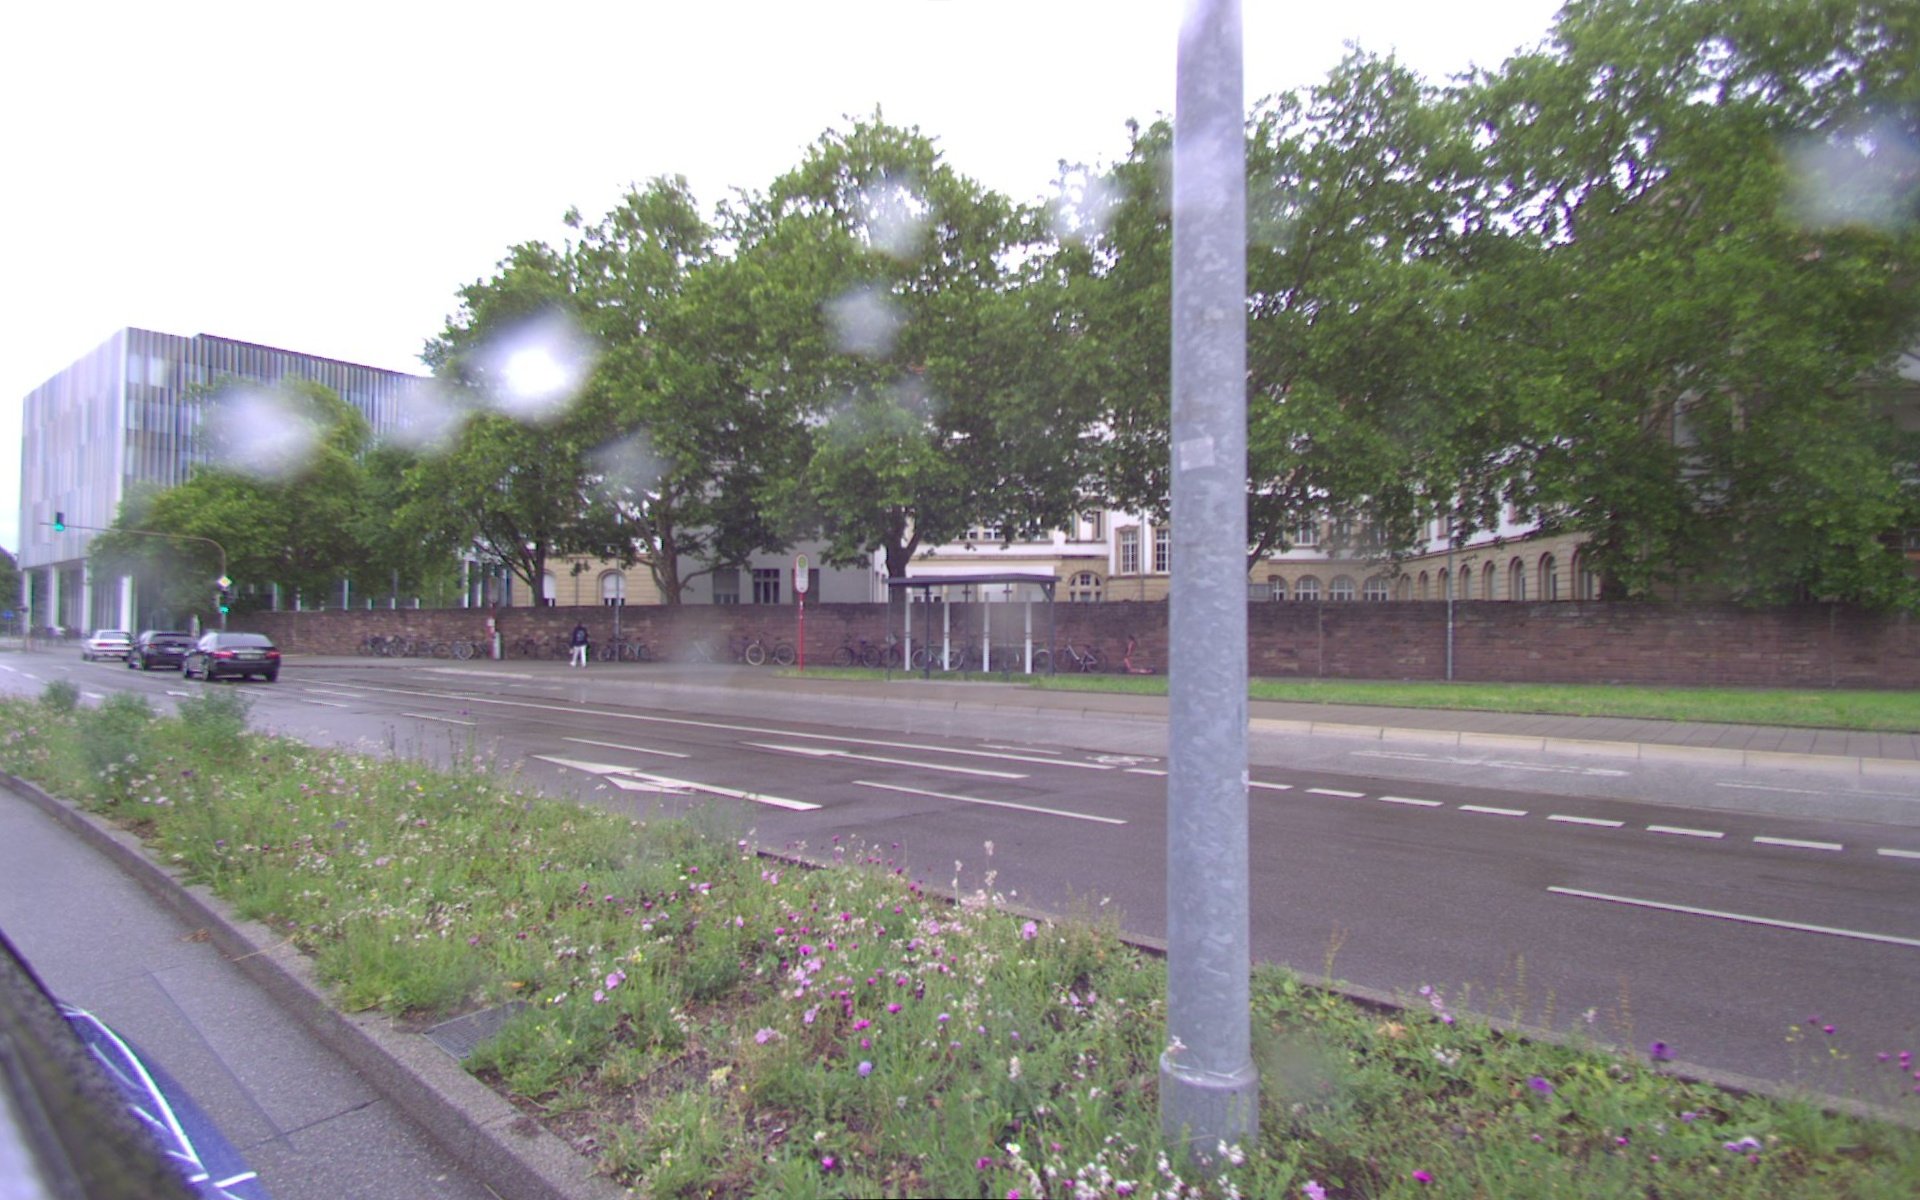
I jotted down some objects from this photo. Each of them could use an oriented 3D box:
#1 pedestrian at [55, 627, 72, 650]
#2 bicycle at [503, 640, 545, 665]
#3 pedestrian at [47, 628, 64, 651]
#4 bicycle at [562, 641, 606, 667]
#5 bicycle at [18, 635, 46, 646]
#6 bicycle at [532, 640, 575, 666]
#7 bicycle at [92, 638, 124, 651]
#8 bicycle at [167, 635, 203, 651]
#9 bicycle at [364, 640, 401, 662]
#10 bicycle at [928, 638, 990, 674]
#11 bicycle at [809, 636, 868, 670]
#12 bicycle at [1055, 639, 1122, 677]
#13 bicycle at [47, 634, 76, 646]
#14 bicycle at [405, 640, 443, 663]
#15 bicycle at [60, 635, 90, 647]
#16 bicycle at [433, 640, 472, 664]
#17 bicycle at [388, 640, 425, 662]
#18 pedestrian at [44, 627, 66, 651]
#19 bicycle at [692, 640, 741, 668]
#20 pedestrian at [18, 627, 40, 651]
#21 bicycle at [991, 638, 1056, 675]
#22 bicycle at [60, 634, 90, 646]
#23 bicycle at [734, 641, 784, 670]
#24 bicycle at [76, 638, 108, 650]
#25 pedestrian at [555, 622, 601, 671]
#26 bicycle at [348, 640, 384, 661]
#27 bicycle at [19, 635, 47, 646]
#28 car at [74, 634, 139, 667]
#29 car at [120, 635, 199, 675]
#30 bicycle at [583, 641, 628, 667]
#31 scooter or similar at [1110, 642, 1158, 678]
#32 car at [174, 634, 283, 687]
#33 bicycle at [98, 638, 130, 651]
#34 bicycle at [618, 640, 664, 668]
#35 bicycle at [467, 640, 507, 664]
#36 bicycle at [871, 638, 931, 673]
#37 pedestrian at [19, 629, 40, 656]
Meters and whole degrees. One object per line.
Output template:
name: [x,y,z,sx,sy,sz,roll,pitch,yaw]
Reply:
pedestrian: [-70.571,3.039,79.646,0.619,1.838,0.782,-1,-2,17]
bicycle: [-17.948,2.166,41.665,1.694,0.990,0.726,-1,-2,30]
pedestrian: [-71.511,3.119,80.020,0.619,1.838,0.782,-1,-2,17]
bicycle: [-14.871,2.119,40.049,1.694,0.990,0.726,-1,-2,30]
bicycle: [-105.280,4.549,114.861,2.250,1.231,0.600,2,-3,-40]
bicycle: [-16.399,2.135,40.861,1.694,0.990,0.726,-1,-2,30]
bicycle: [-81.901,4.226,97.291,0.596,1.231,2.264,-1,-2,28]
bicycle: [-61.877,3.410,80.840,0.596,1.231,2.264,-1,-2,28]
bicycle: [-26.987,2.380,47.277,1.694,0.990,0.726,-1,-2,30]
bicycle: [-0.035,1.829,32.978,1.980,1.144,0.570,-1,-2,25]
bicycle: [-4.170,1.815,34.657,1.977,1.144,0.570,-1,-2,22]
bicycle: [3.975,1.786,31.422,1.980,1.144,0.570,-1,-2,25]
bicycle: [-93.968,4.209,105.872,2.250,1.231,0.600,2,-3,-40]
bicycle: [-23.847,2.294,45.022,1.860,0.990,0.725,-1,-2,34]
bicycle: [-91.307,4.222,104.430,2.250,1.231,0.600,2,-3,-40]
bicycle: [-22.154,2.263,44.195,1.694,0.990,0.726,-1,-2,30]
bicycle: [-25.435,2.351,46.517,1.694,0.990,0.726,-1,-2,30]
pedestrian: [-72.190,3.114,80.721,0.916,1.838,0.934,-1,-2,17]
bicycle: [-8.870,1.962,36.881,1.694,0.990,0.726,-1,-2,30]
pedestrian: [-73.370,3.079,79.760,0.914,1.838,0.936,-1,-2,11]
bicycle: [2.015,1.785,32.015,1.980,1.144,0.570,-1,-2,25]
bicycle: [-90.716,4.127,103.715,2.250,1.231,0.600,2,-3,-40]
bicycle: [-7.096,1.962,35.792,1.694,0.990,0.726,-1,-2,30]
bicycle: [-84.305,4.266,98.312,0.596,1.231,2.264,-1,-2,28]
pedestrian: [-13.459,1.625,35.645,1.396,1.708,0.861,-1,-2,35]
bicycle: [-28.527,2.429,48.588,1.694,0.990,0.726,-1,-2,30]
bicycle: [-103.523,4.481,113.064,2.250,1.231,0.600,2,-3,-40]
car: [-38.533,2.245,45.649,4.523,1.426,1.579,-2,-4,42]
car: [-29.979,2.038,37.857,4.065,1.426,1.606,-2,-4,42]
bicycle: [-13.753,2.091,39.290,1.694,0.990,0.726,-1,-2,30]
scooter or similar: [5.299,1.823,30.848,1.354,1.055,0.569,-1,-2,25]
car: [-22.891,1.849,31.595,4.702,1.552,1.789,-2,-4,43]
bicycle: [-81.224,4.220,97.142,0.596,1.231,2.264,-1,-2,28]
bicycle: [-11.921,2.003,37.815,1.694,0.990,0.726,-1,-2,30]
bicycle: [-20.221,2.226,43.230,1.694,0.990,0.726,-1,-2,30]
bicycle: [-1.968,1.850,33.688,1.977,1.144,0.570,-1,-2,22]
pedestrian: [-65.526,2.982,71.244,0.789,1.838,0.782,-1,-2,18]
